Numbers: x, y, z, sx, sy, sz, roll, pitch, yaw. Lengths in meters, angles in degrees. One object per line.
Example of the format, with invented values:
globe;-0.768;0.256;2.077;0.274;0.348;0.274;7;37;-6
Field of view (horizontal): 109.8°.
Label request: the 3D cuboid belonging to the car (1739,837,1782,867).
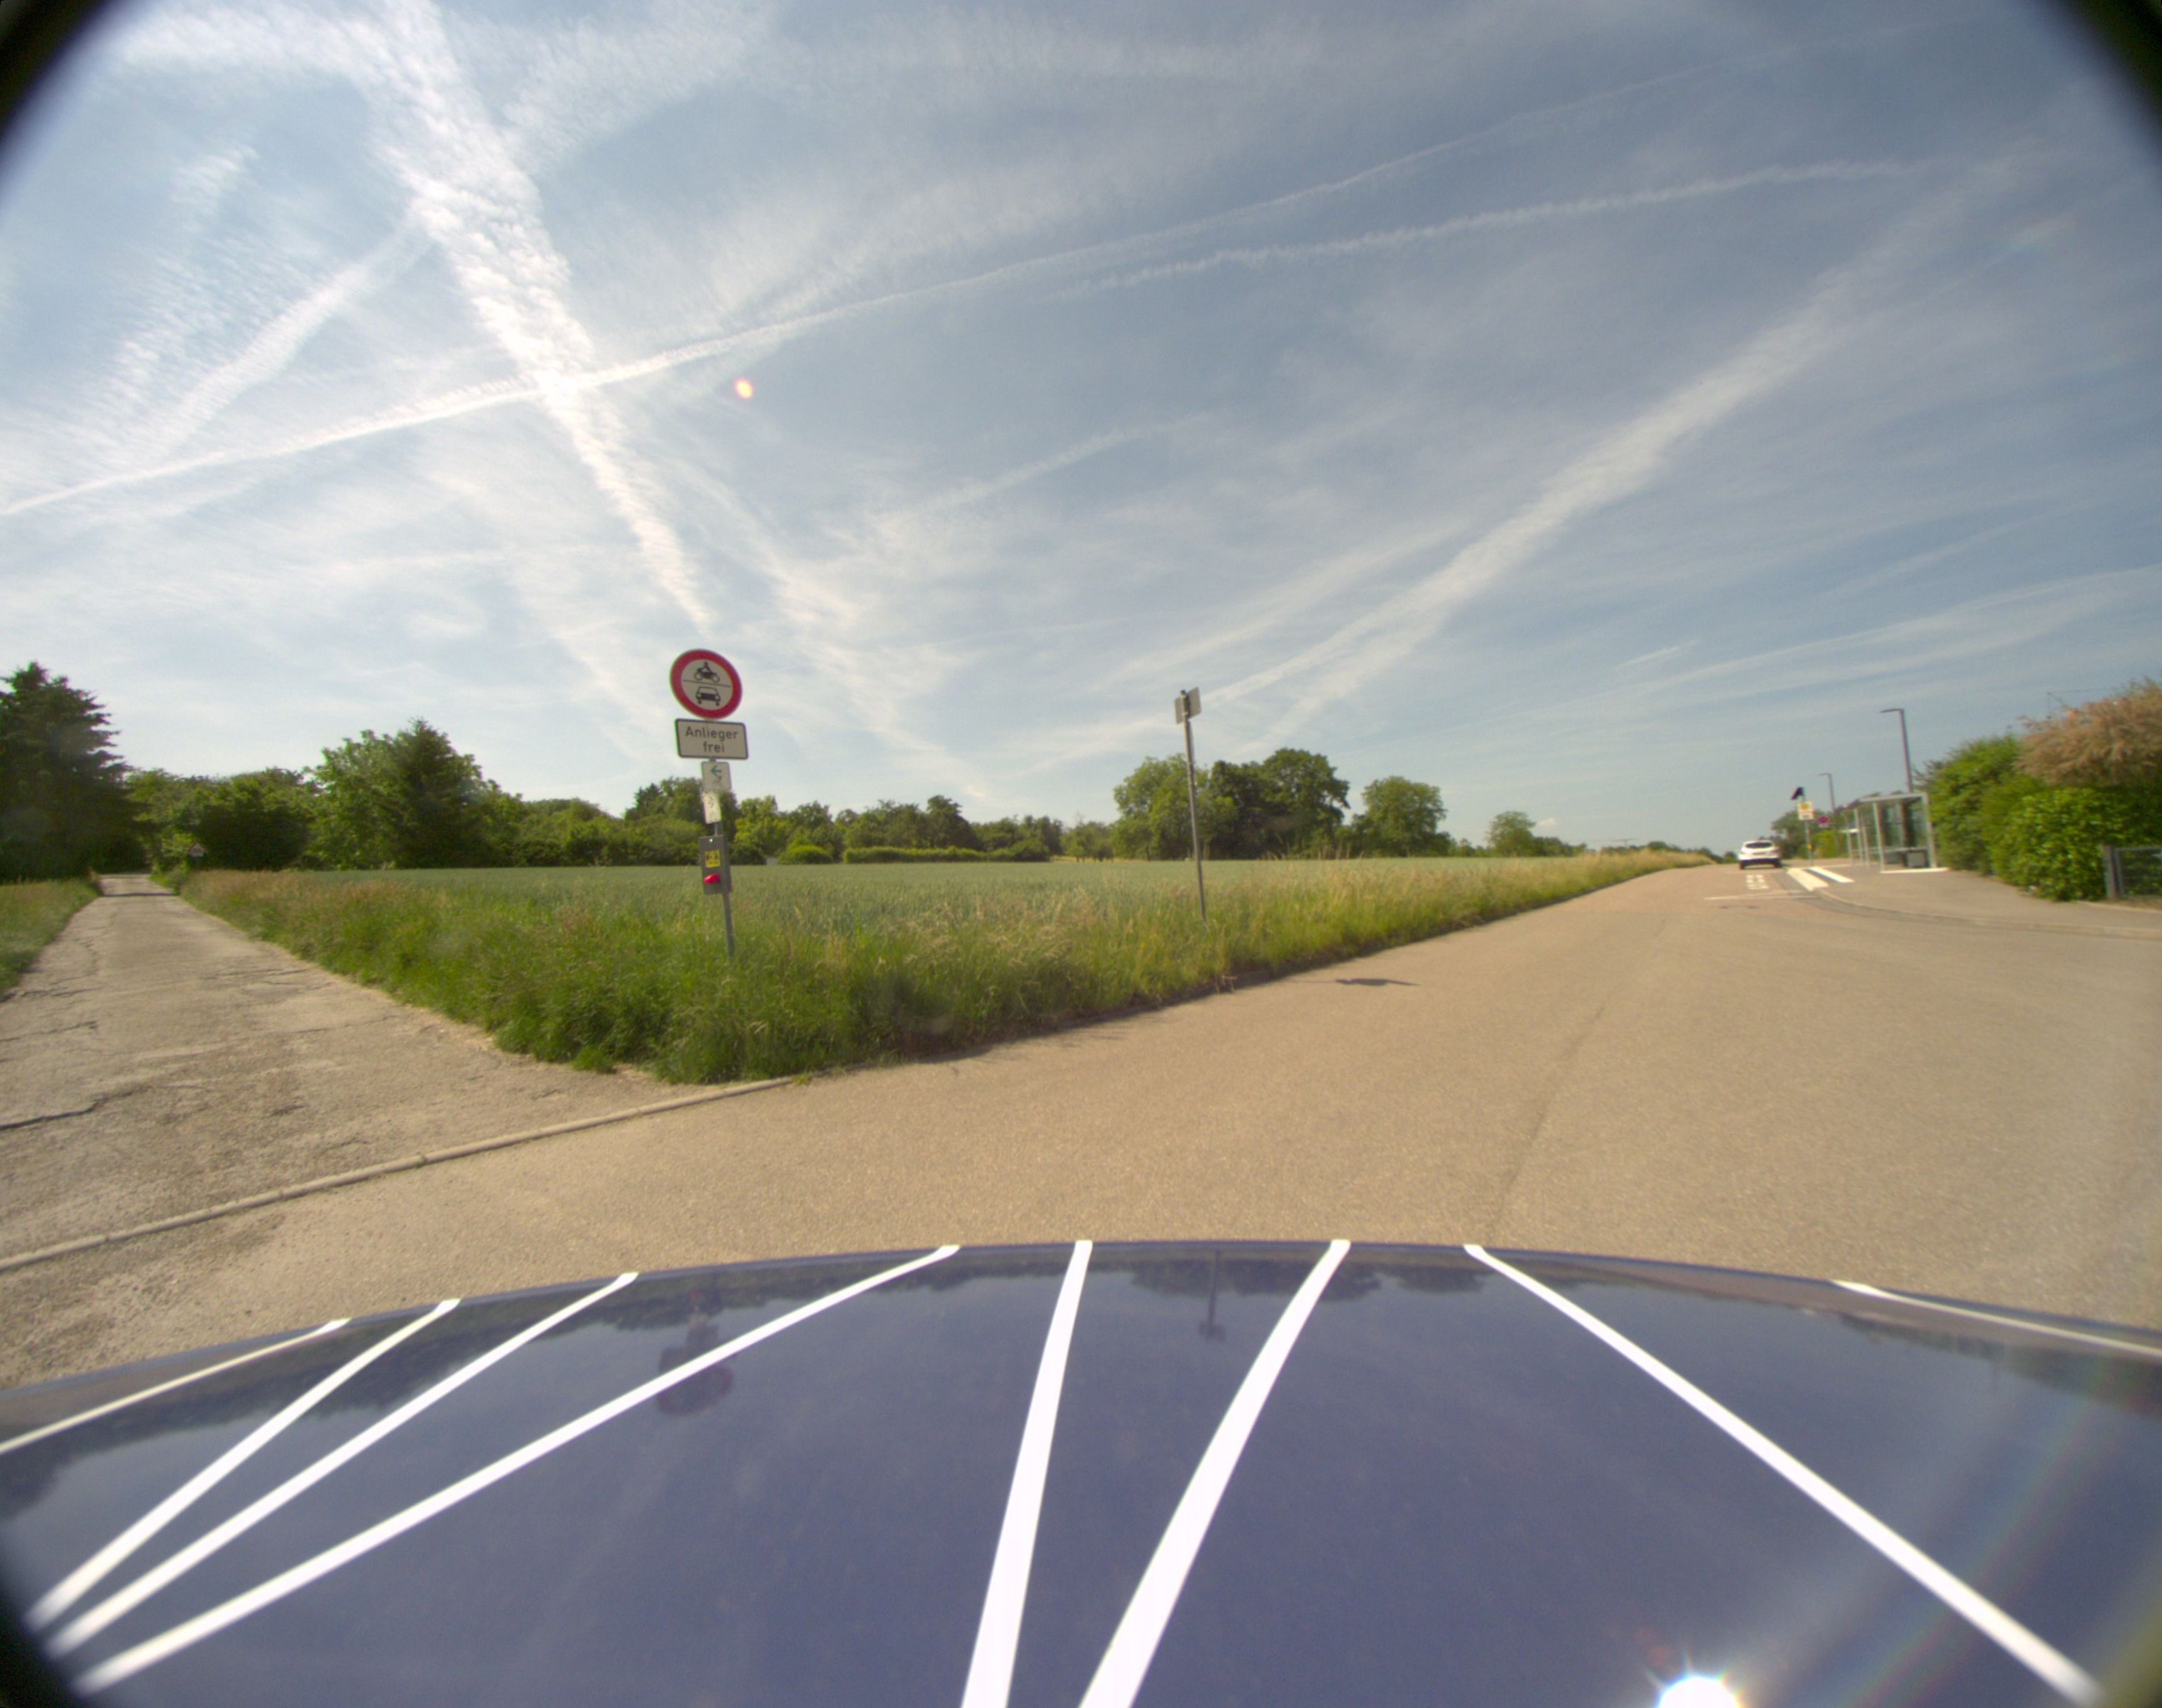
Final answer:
car;40.307;-0.114;45.139;1.735;1.623;4.361;-5;-2;41
